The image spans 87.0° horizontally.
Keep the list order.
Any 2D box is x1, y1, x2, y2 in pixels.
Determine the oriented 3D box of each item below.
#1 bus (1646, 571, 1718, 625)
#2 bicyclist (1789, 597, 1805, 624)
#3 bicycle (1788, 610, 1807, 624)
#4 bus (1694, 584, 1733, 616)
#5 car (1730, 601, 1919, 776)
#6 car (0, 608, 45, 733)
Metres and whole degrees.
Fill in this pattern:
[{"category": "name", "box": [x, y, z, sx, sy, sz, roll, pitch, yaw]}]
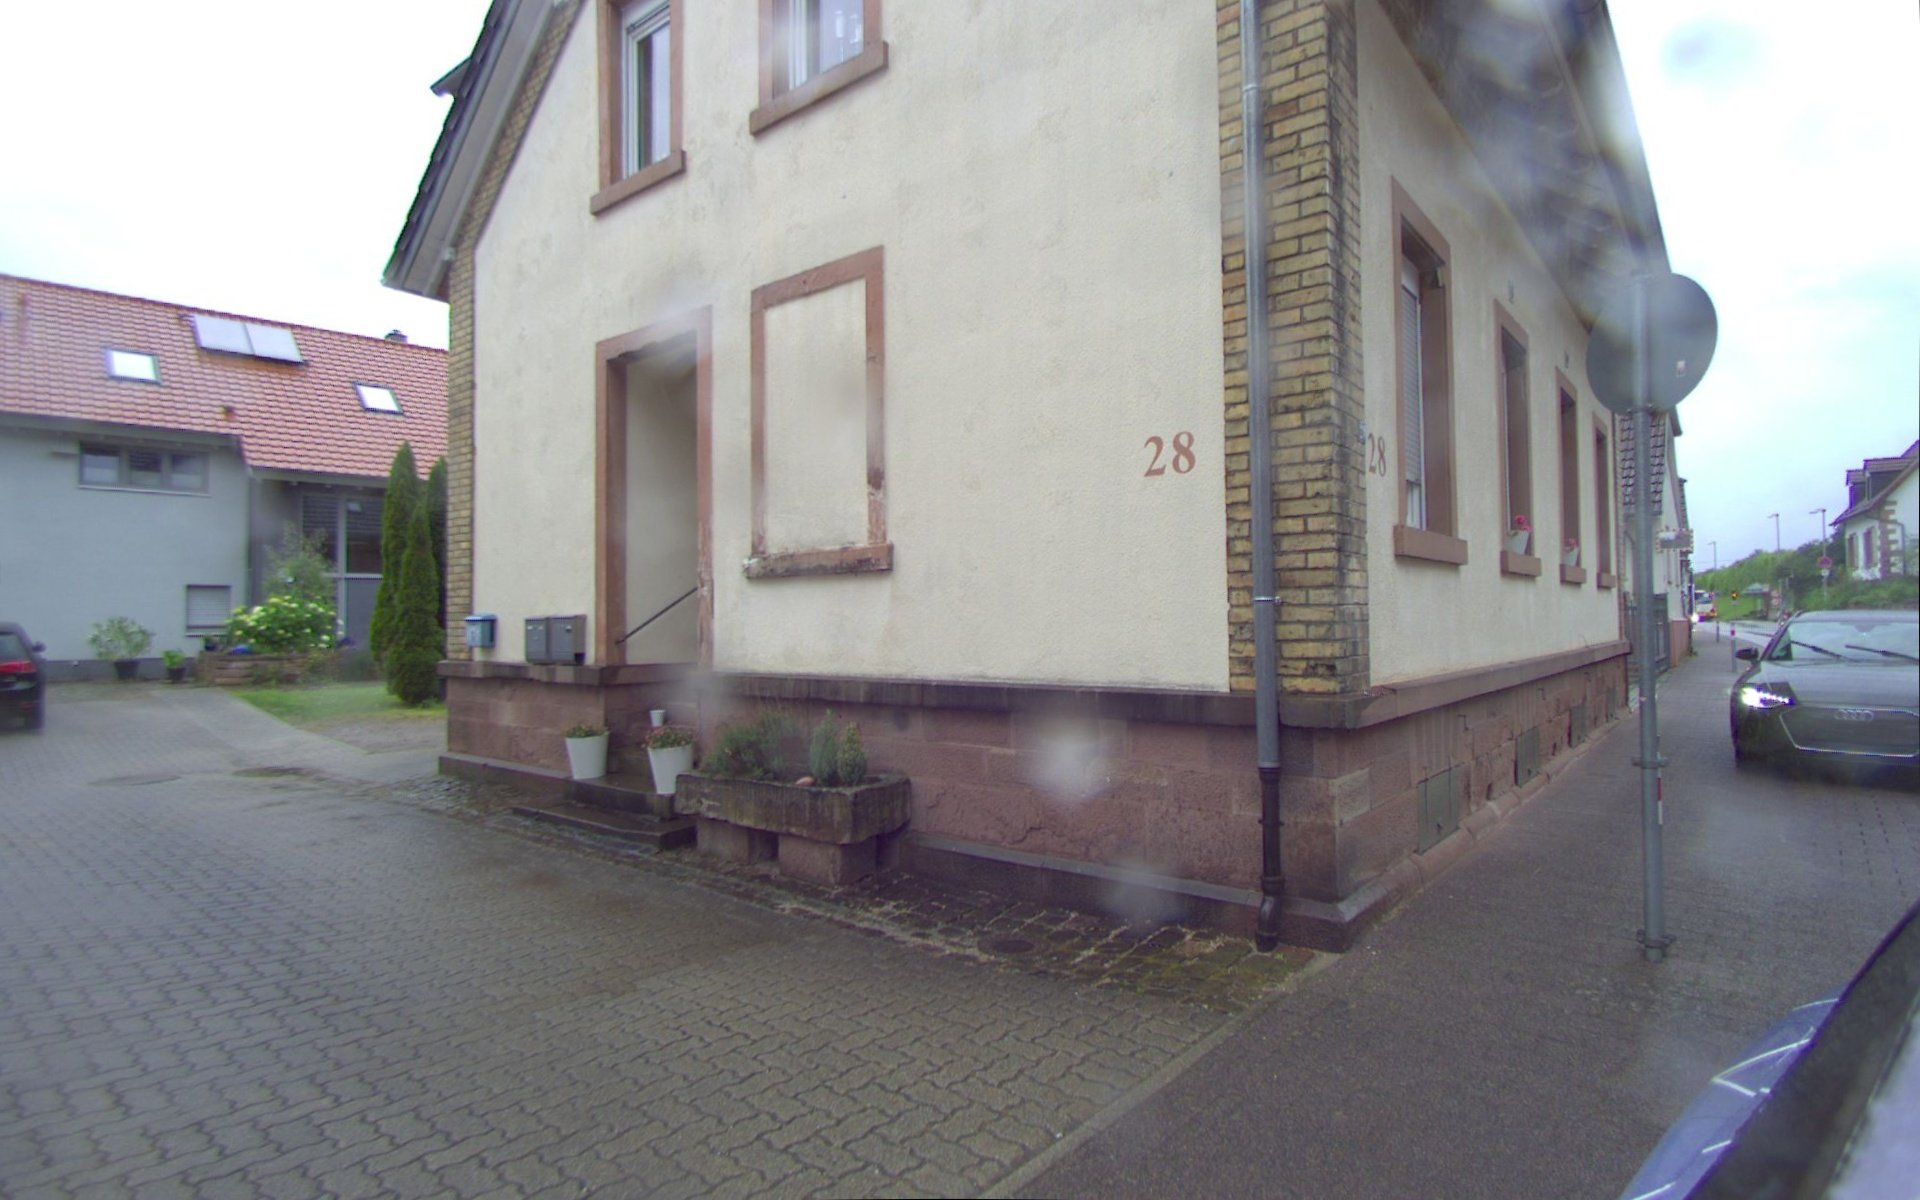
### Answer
[{"category": "bus", "box": [51.373, -0.136, 72.321, 3.418, 3.455, 13.707, -2, -1, 33]}, {"category": "bicyclist", "box": [56.752, 0.688, 68.642, 0.653, 1.793, 0.695, -3, -4, 31]}, {"category": "bicycle", "box": [56.746, 1.151, 68.577, 0.657, 0.882, 1.913, -3, -4, 30]}, {"category": "bus", "box": [75.905, 0.055, 102.077, 2.798, 2.977, 11.784, -3, -2, 36]}, {"category": "car", "box": [8.747, 0.741, 9.627, 1.774, 1.374, 4.122, -4, -4, 43]}, {"category": "car", "box": [-14.267, 0.966, 14.510, 1.667, 1.480, 3.567, -1, 3, -42]}]
